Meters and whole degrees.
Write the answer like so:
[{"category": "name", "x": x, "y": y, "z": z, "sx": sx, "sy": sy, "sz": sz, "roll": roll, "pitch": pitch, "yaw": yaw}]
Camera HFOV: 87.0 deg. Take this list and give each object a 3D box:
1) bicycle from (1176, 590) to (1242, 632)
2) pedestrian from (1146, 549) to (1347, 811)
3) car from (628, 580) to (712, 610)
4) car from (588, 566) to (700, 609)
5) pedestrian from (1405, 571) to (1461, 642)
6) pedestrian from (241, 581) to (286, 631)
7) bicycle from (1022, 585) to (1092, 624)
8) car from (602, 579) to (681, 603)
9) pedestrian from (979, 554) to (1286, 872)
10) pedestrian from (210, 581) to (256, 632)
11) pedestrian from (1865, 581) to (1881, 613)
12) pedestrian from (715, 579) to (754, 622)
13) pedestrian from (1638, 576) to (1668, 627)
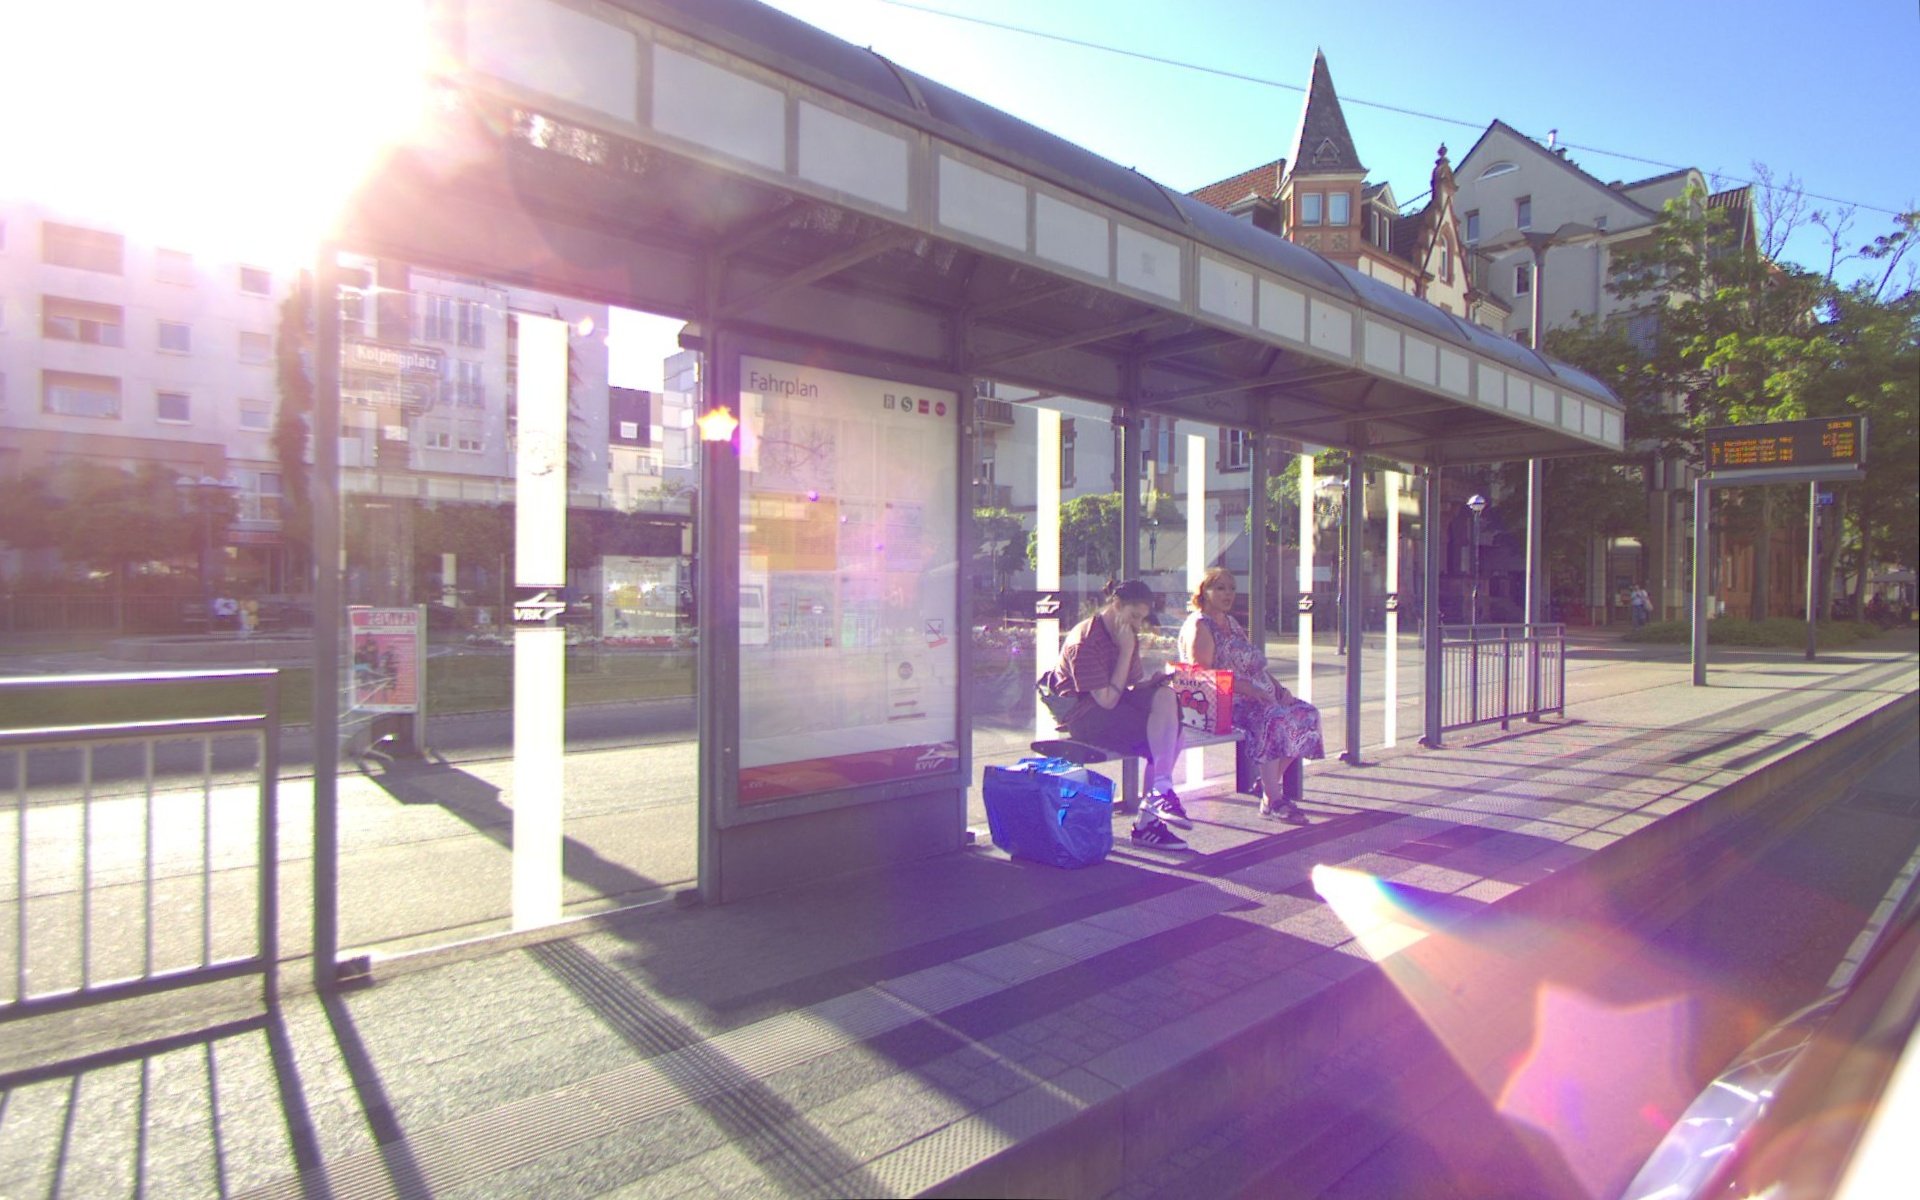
[{"category": "bicycle", "x": 7.441, "y": 0.305, "z": 30.141, "sx": 0.786, "sy": 1.081, "sz": 2.767, "roll": 1, "pitch": 3, "yaw": 40}, {"category": "pedestrian", "x": 1.615, "y": 0.421, "z": 5.763, "sx": 0.612, "sy": 1.351, "sz": 0.860, "roll": -1, "pitch": -2, "yaw": -40}, {"category": "car", "x": -15.427, "y": -0.279, "z": 53.892, "sx": 3.923, "sy": 1.536, "sz": 2.001, "roll": 0, "pitch": 1, "yaw": -34}, {"category": "car", "x": -20.119, "y": -0.799, "z": 64.723, "sx": 2.806, "sy": 2.587, "sz": 6.294, "roll": 1, "pitch": 1, "yaw": 44}, {"category": "pedestrian", "x": 11.513, "y": 0.147, "z": 24.650, "sx": 1.064, "sy": 1.689, "sz": 0.944, "roll": 1, "pitch": 1, "yaw": 37}, {"category": "pedestrian", "x": -18.271, "y": 0.150, "z": 26.564, "sx": 0.737, "sy": 1.287, "sz": 0.725, "roll": 1, "pitch": 1, "yaw": 29}, {"category": "bicycle", "x": 3.548, "y": 0.137, "z": 36.810, "sx": 2.864, "sy": 1.389, "sz": 0.745, "roll": 0, "pitch": 1, "yaw": -41}, {"category": "car", "x": -18.289, "y": -0.526, "z": 58.097, "sx": 3.923, "sy": 1.304, "sz": 2.001, "roll": 0, "pitch": 1, "yaw": -34}, {"category": "pedestrian", "x": 0.774, "y": 0.449, "z": 4.631, "sx": 0.907, "sy": 1.241, "sz": 1.000, "roll": -1, "pitch": -2, "yaw": -40}, {"category": "pedestrian", "x": -18.619, "y": 0.157, "z": 25.928, "sx": 0.737, "sy": 1.287, "sz": 0.725, "roll": 1, "pitch": 1, "yaw": 29}, {"category": "pedestrian", "x": 57.894, "y": -0.214, "z": 64.152, "sx": 0.549, "sy": 2.039, "sz": 0.654, "roll": 0, "pitch": 0, "yaw": -38}, {"category": "pedestrian", "x": -7.872, "y": 0.002, "z": 35.249, "sx": 0.917, "sy": 1.429, "sz": 1.529, "roll": 0, "pitch": 1, "yaw": -30}, {"category": "pedestrian", "x": 24.437, "y": 0.054, "z": 35.674, "sx": 0.740, "sy": 1.757, "sz": 0.864, "roll": 1, "pitch": 1, "yaw": 43}]
